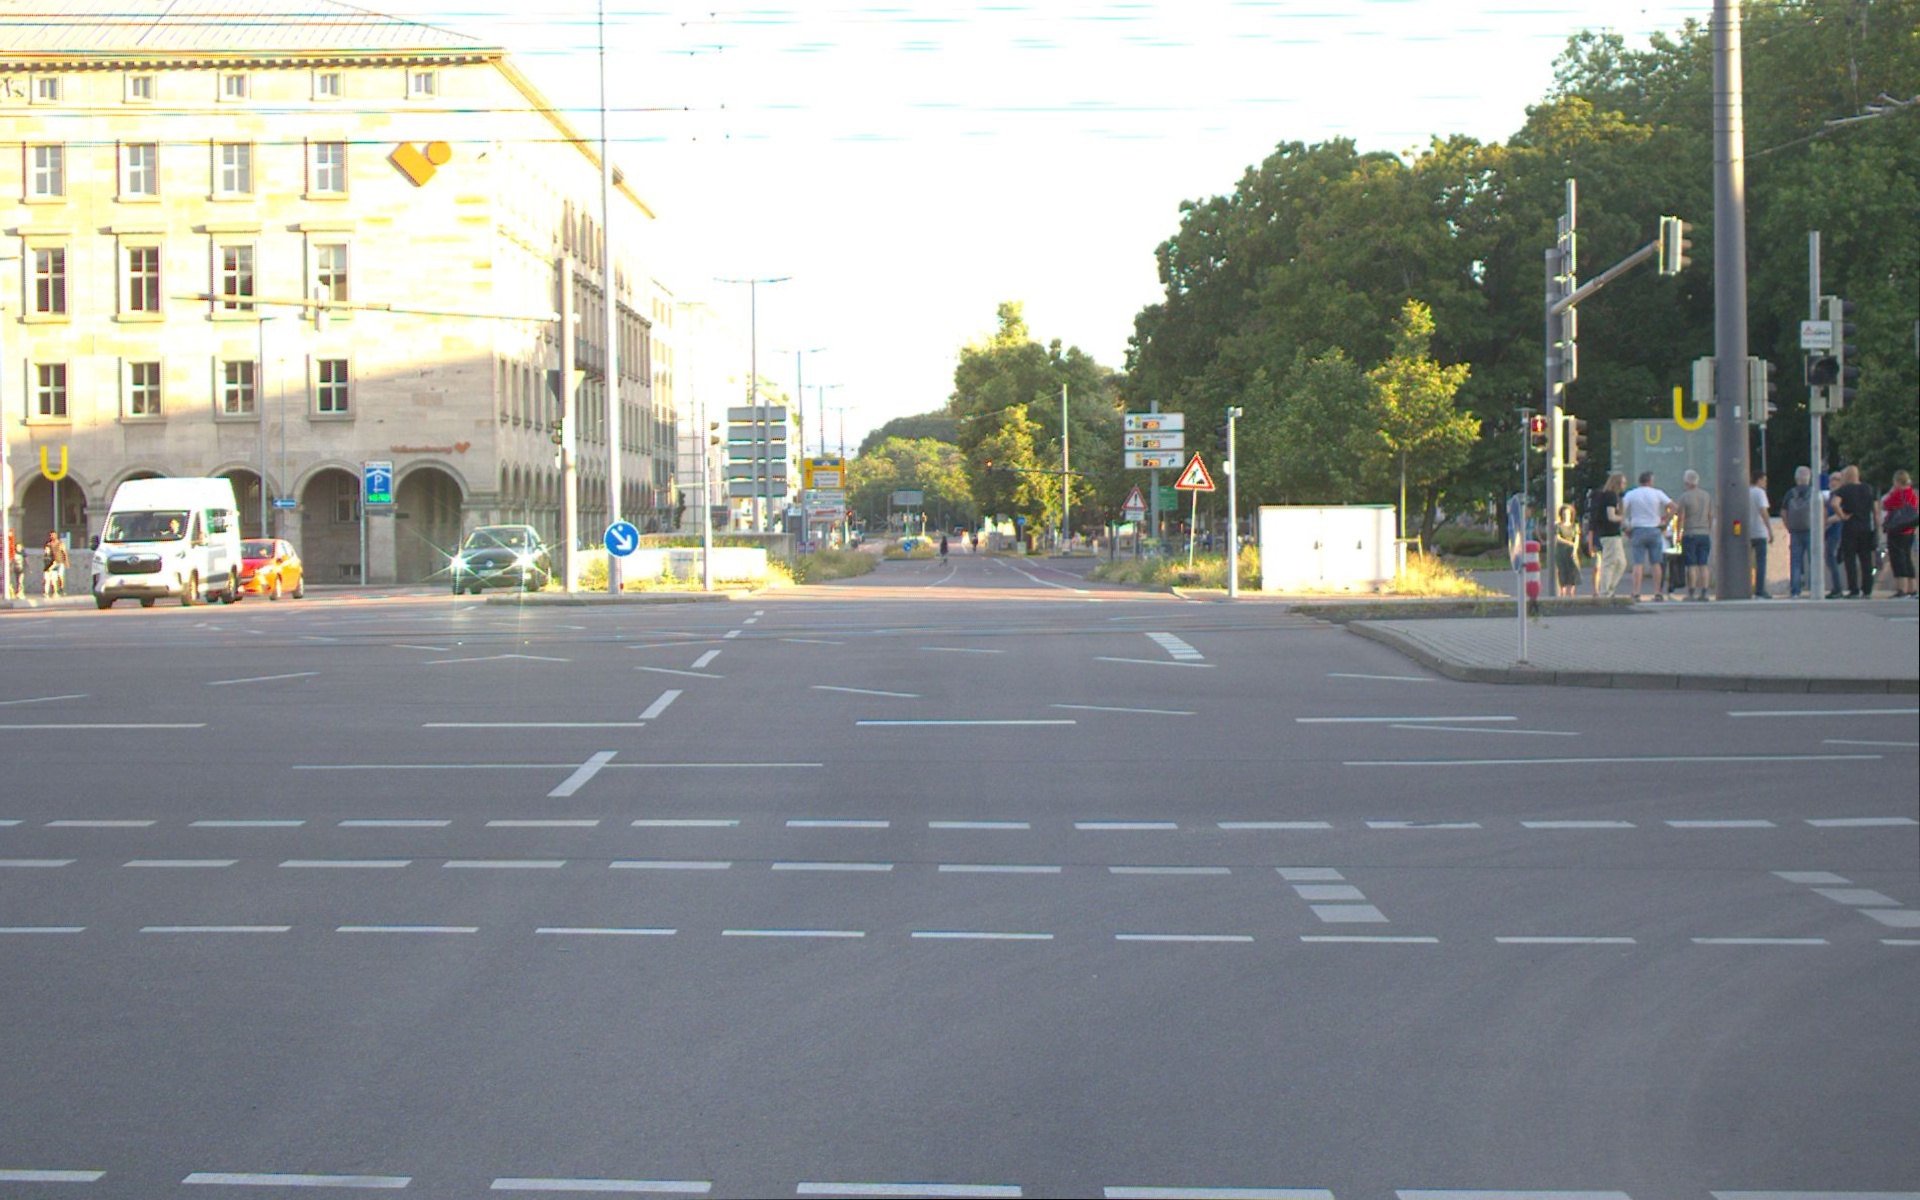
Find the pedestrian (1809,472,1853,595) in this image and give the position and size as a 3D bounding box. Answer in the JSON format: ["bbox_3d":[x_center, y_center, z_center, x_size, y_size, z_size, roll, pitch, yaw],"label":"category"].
[{"bbox_3d":[11.939,-0.915,47.124,0.572,1.673,0.638,0,2,14],"label":"pedestrian"}]

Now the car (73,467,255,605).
[{"bbox_3d":[-16.696,-1.375,72.475,2.279,2.766,6.084,-1,2,1],"label":"car"}]

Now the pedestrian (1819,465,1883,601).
[{"bbox_3d":[11.824,-0.888,45.630,0.805,1.785,0.800,0,2,14],"label":"pedestrian"}]

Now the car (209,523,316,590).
[{"bbox_3d":[-16.441,-1.046,81.179,1.738,1.482,4.001,-1,2,-1],"label":"car"}]

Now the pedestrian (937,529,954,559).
[{"bbox_3d":[-0.808,-3.179,195.012,0.906,1.665,1.307,-1,2,-1],"label":"pedestrian"}]

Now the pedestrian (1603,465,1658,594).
[{"bbox_3d":[8.961,-0.945,45.941,0.711,1.719,0.668,0,2,12],"label":"pedestrian"}]

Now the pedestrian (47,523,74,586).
[{"bbox_3d":[-24.679,-1.246,94.333,0.621,1.738,0.460,1,0,-5],"label":"pedestrian"}]

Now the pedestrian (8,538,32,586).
[{"bbox_3d":[-25.477,-1.031,93.176,0.505,1.296,0.701,1,0,-5],"label":"pedestrian"}]

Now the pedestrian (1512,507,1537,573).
[{"bbox_3d":[15.087,-1.606,91.927,0.642,1.754,0.524,0,2,8],"label":"pedestrian"}]

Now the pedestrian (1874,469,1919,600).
[{"bbox_3d":[12.685,-0.882,45.990,0.845,1.728,0.705,0,2,12],"label":"pedestrian"}]

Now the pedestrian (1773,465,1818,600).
[{"bbox_3d":[11.101,-0.898,45.659,0.572,1.785,0.638,0,2,14],"label":"pedestrian"}]

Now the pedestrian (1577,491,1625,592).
[{"bbox_3d":[11.292,-1.036,60.539,0.680,1.751,0.901,0,2,20],"label":"pedestrian"}]

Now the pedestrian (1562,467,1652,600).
[{"bbox_3d":[8.484,-0.884,45.106,0.912,1.719,0.713,-1,2,-28],"label":"pedestrian"}]

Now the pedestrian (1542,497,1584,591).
[{"bbox_3d":[10.630,-0.993,60.596,0.560,1.649,0.901,0,2,20],"label":"pedestrian"}]

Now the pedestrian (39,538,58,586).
[{"bbox_3d":[-24.619,-1.032,92.840,0.420,1.296,0.460,1,0,-5],"label":"pedestrian"}]

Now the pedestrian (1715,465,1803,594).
[{"bbox_3d":[10.809,-0.958,46.527,0.912,1.719,0.713,-1,2,-26],"label":"pedestrian"}]

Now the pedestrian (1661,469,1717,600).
[{"bbox_3d":[9.704,-0.877,45.772,0.711,1.719,0.668,0,2,13],"label":"pedestrian"}]

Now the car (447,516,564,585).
[{"bbox_3d":[-9.559,-1.066,72.629,1.823,1.337,4.000,-1,2,2],"label":"car"}]
